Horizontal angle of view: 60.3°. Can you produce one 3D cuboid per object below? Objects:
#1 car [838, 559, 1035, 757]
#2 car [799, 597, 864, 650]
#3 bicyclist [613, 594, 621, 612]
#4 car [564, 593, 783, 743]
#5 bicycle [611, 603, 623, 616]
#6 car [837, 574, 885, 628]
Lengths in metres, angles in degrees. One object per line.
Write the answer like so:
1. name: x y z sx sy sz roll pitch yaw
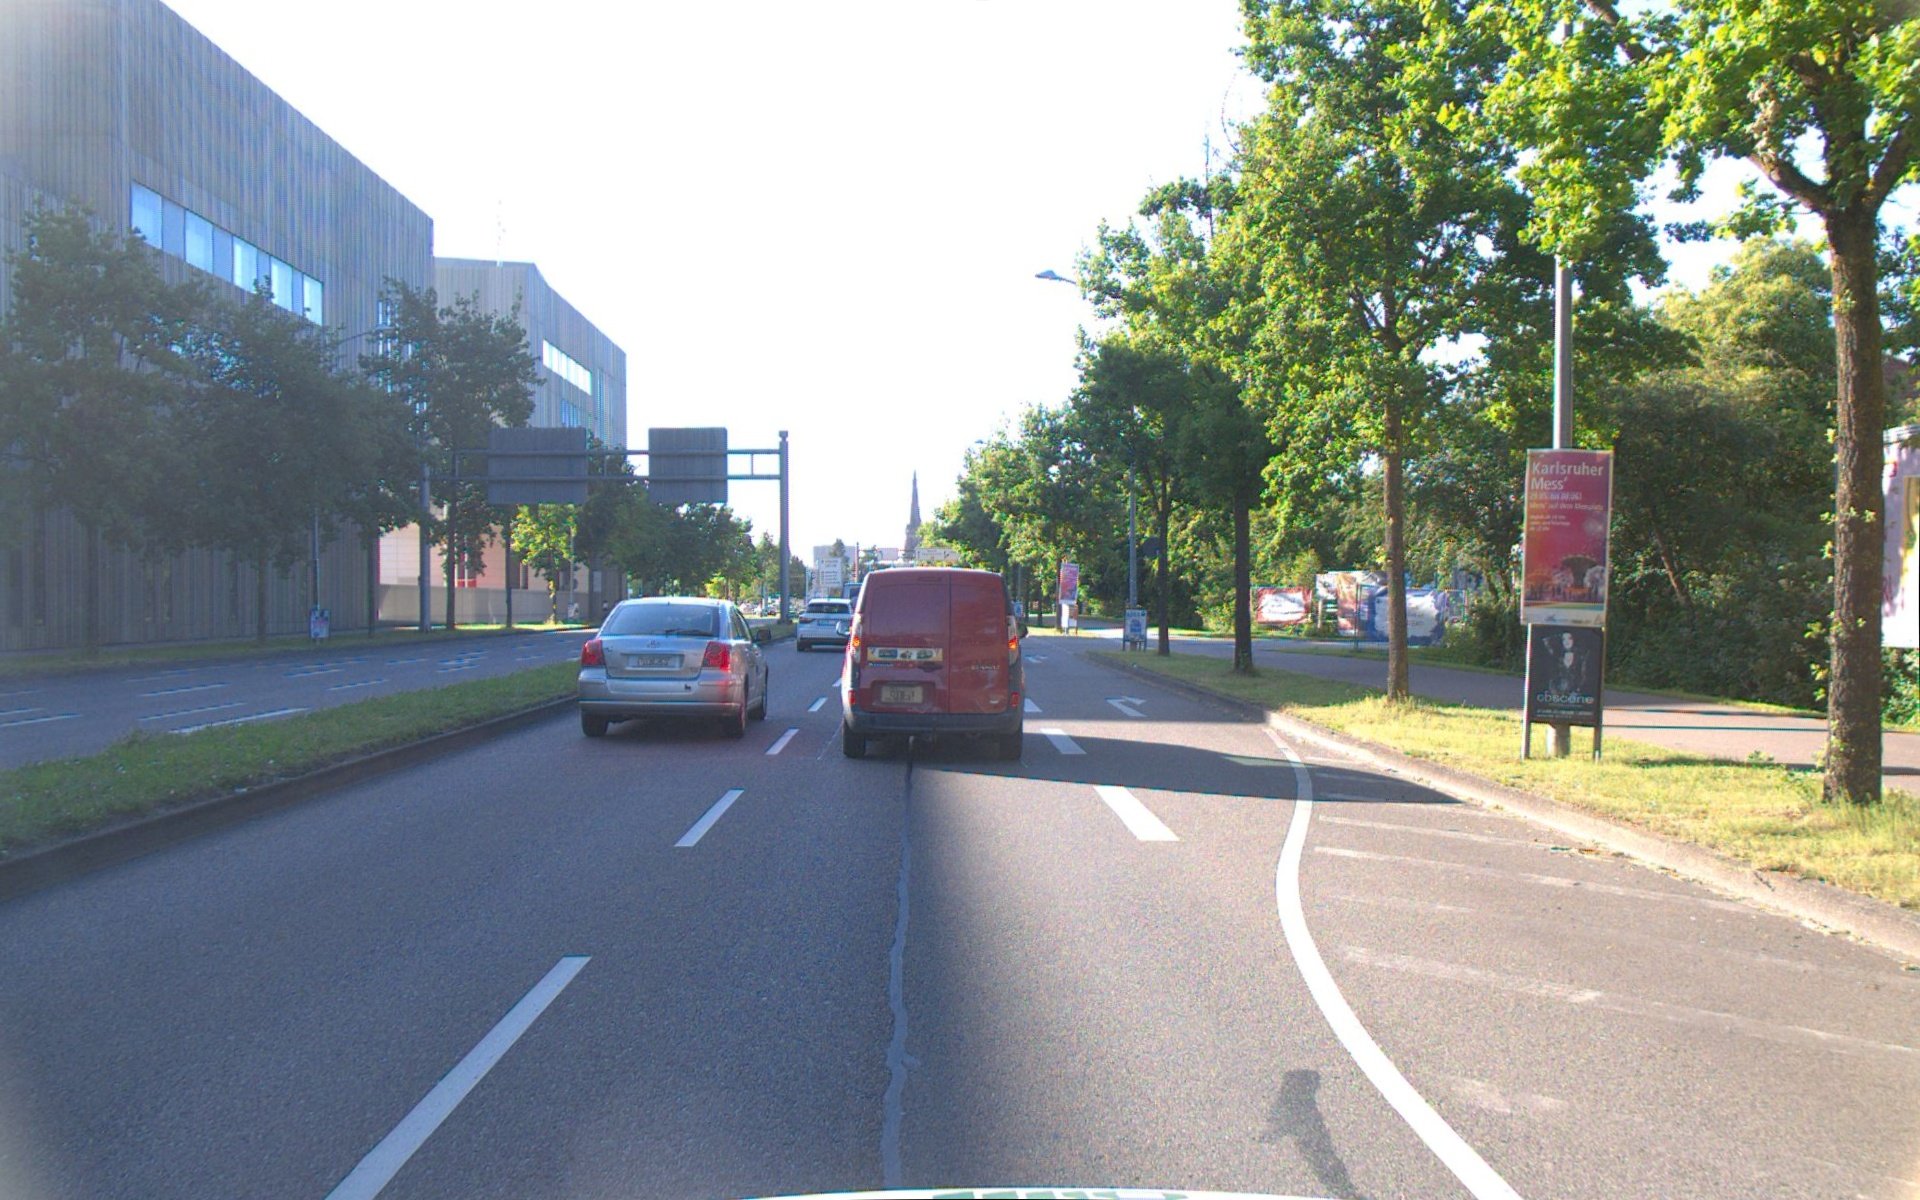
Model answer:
1. car: -0.276 0.526 17.038 1.770 1.790 4.004 1 0 -2
2. car: -3.556 0.631 46.191 1.628 1.422 3.557 -1 0 -2
3. bicyclist: -27.176 0.207 131.085 0.551 1.417 0.747 -1 -1 -3
4. car: -3.091 0.677 18.646 1.803 1.482 4.161 1 0 -1
5. bicycle: -27.171 0.724 131.073 0.558 1.021 2.095 -1 -1 -3
6. car: -3.547 0.034 59.727 1.628 1.889 3.557 -1 0 -2
